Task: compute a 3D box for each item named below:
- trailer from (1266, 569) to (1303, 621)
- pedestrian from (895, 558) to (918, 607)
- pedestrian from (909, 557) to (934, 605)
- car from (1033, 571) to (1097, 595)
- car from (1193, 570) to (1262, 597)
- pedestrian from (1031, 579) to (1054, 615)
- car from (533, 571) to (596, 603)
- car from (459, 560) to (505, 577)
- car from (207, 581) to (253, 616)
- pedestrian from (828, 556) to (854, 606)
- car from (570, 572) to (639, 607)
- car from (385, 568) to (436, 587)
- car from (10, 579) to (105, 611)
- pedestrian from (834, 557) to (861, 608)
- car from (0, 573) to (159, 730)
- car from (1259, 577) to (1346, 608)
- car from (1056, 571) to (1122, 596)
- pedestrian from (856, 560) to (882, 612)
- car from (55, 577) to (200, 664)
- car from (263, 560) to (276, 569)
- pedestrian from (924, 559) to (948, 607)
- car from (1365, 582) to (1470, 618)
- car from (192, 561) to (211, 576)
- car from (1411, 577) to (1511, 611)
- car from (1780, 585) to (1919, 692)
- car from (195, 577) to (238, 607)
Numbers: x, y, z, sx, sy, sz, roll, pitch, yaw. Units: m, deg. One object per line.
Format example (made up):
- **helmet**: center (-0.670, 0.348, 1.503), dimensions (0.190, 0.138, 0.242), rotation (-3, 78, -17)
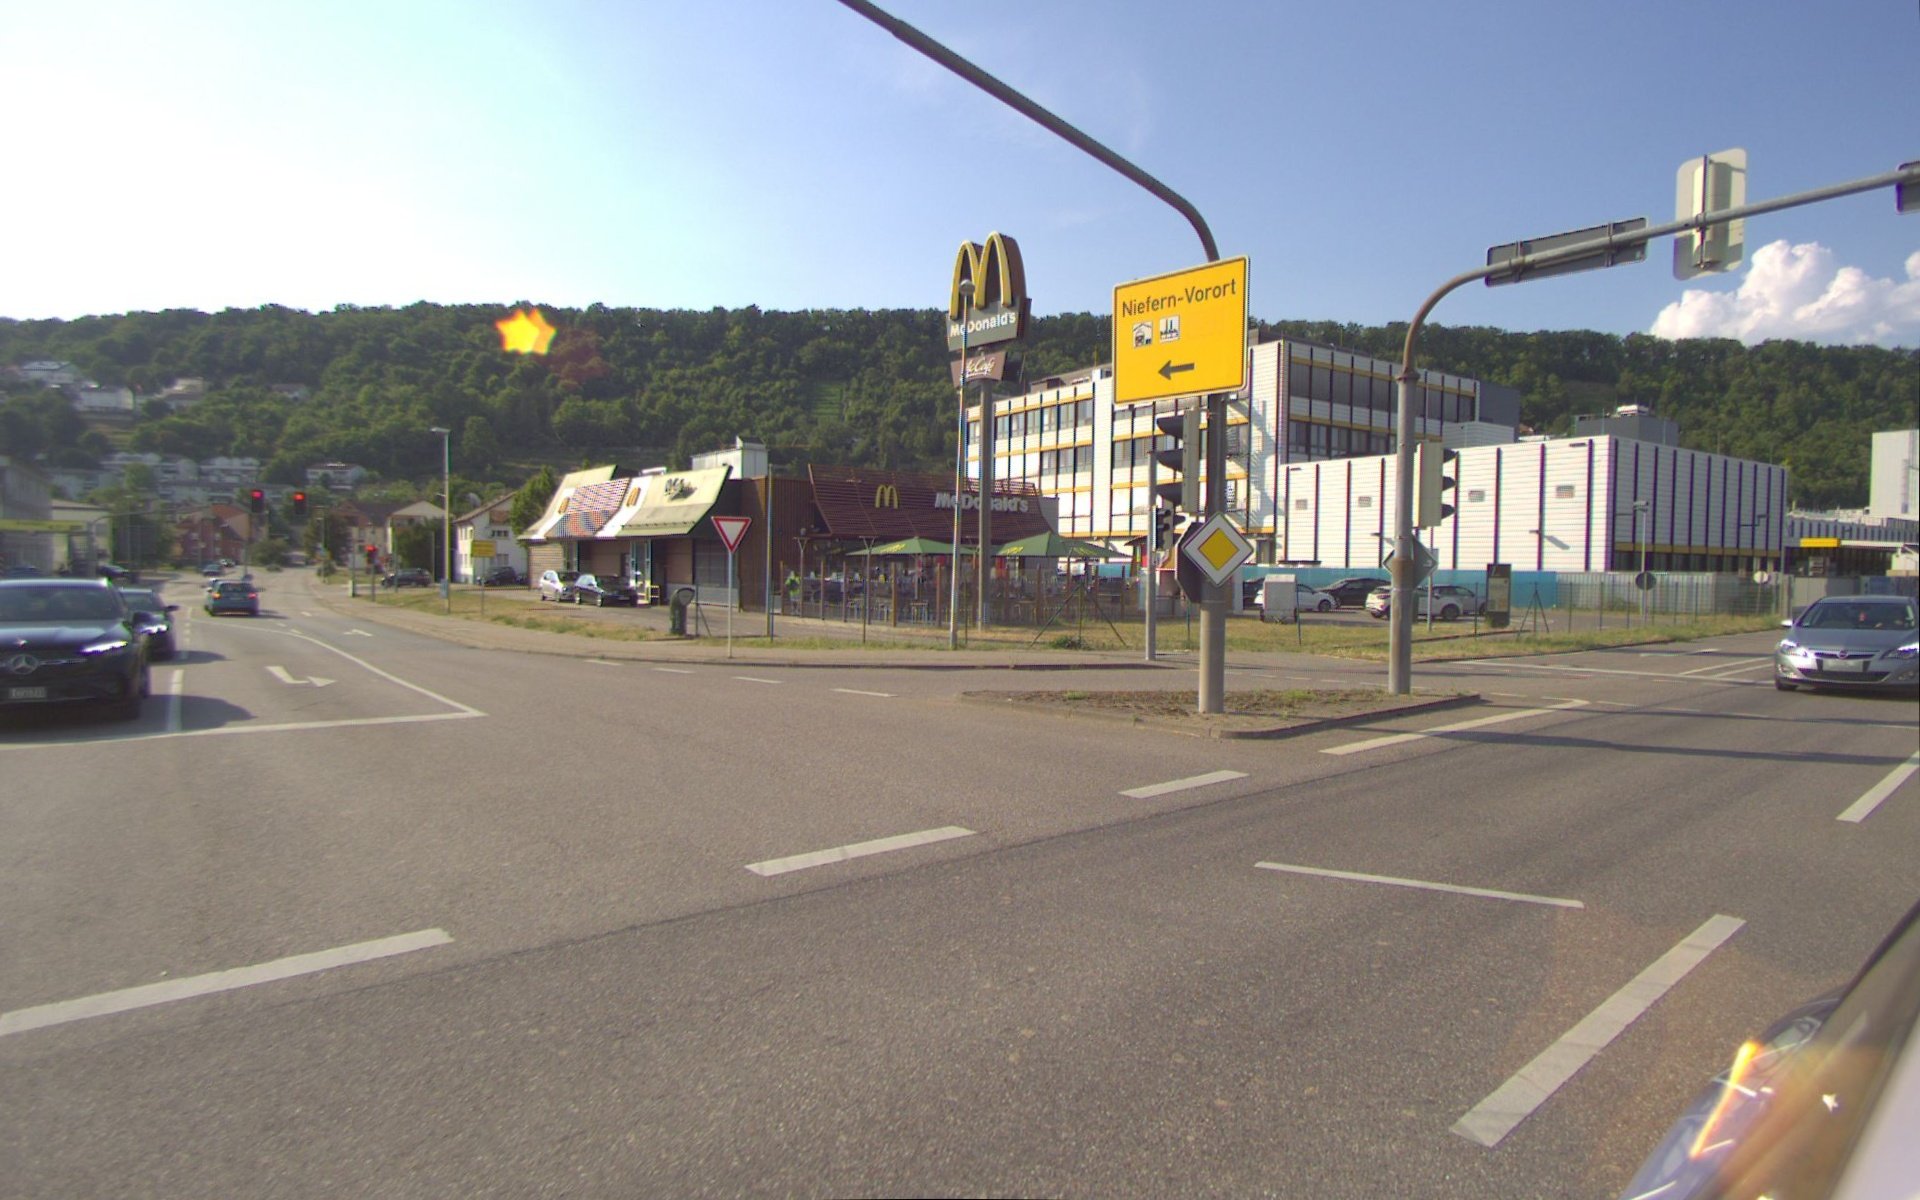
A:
- **trailer**: center (13.131, -0.216, 40.983), dimensions (1.331, 1.972, 3.461), rotation (2, 1, 18)
- **pedestrian**: center (-2.273, -0.740, 42.709), dimensions (0.726, 2.039, 0.759), rotation (-1, 0, 19)
- **pedestrian**: center (-1.657, -0.793, 43.496), dimensions (0.749, 2.039, 0.735), rotation (-1, 0, -36)
- **car**: center (6.567, -1.045, 63.565), dimensions (3.595, 1.433, 1.799), rotation (-1, 0, -8)
- **car**: center (15.055, -0.914, 57.021), dimensions (3.358, 1.473, 1.700), rotation (-1, 0, -8)
- **pedestrian**: center (3.191, -0.124, 39.229), dimensions (0.587, 1.354, 0.672), rotation (-1, 0, -44)
- **car**: center (-19.947, -0.704, 50.991), dimensions (1.828, 1.475, 3.997), rotation (-1, 3, -39)
- **car**: center (-48.098, -3.137, 101.759), dimensions (3.925, 1.690, 1.830), rotation (-1, 1, -36)
- **car**: center (-32.597, -0.064, 45.175), dimensions (1.548, 1.505, 3.322), rotation (-1, 1, -38)
- **pedestrian**: center (-4.938, -0.789, 42.117), dimensions (0.758, 2.039, 0.727), rotation (-1, 0, 33)
- **car**: center (-16.412, -0.534, 46.627), dimensions (1.827, 1.475, 3.997), rotation (-1, 3, -38)
- **car**: center (-50.355, -2.020, 92.692), dimensions (3.925, 1.690, 1.830), rotation (-1, 1, -36)
- **car**: center (-51.969, -0.292, 58.330), dimensions (1.599, 1.749, 3.943), rotation (-1, 1, 39)
- **pedestrian**: center (-4.522, -0.695, 40.646), dimensions (0.731, 2.039, 0.754), rotation (-1, 0, 36)
- **car**: center (-11.009, 0.520, 12.188), dimensions (1.963, 1.605, 4.468), rotation (-1, 1, -37)
- **car**: center (16.879, -0.365, 49.926), dimensions (3.698, 1.473, 1.700), rotation (-1, 0, -8)
- **car**: center (7.818, -1.012, 61.569), dimensions (3.595, 1.433, 1.799), rotation (-1, 0, -8)
- **pedestrian**: center (-3.598, -0.556, 40.055), dimensions (0.726, 2.039, 0.759), rotation (-1, 0, 19)
- **car**: center (-17.158, 0.366, 21.038), dimensions (1.660, 1.616, 4.004), rotation (-1, 1, -30)
- **car**: center (-108.580, -5.561, 159.133), dimensions (1.558, 1.414, 3.377), rotation (-1, 1, -38)
- **pedestrian**: center (-1.018, -0.718, 42.978), dimensions (0.749, 2.039, 0.735), rotation (-1, 0, -36)
- **car**: center (20.364, -0.003, 45.146), dimensions (3.829, 1.524, 1.879), rotation (-1, 0, -4)
- **car**: center (-89.448, -3.741, 119.327), dimensions (1.699, 1.694, 3.618), rotation (-1, 1, -36)
- **car**: center (23.783, -0.277, 48.078), dimensions (3.828, 1.524, 1.880), rotation (-1, 0, -7)
- **car**: center (14.106, 0.498, 15.507), dimensions (3.815, 1.408, 1.690), rotation (-1, 2, -40)
- **car**: center (-37.139, -0.380, 50.601), dimensions (1.658, 1.438, 3.653), rotation (-1, 1, -35)
